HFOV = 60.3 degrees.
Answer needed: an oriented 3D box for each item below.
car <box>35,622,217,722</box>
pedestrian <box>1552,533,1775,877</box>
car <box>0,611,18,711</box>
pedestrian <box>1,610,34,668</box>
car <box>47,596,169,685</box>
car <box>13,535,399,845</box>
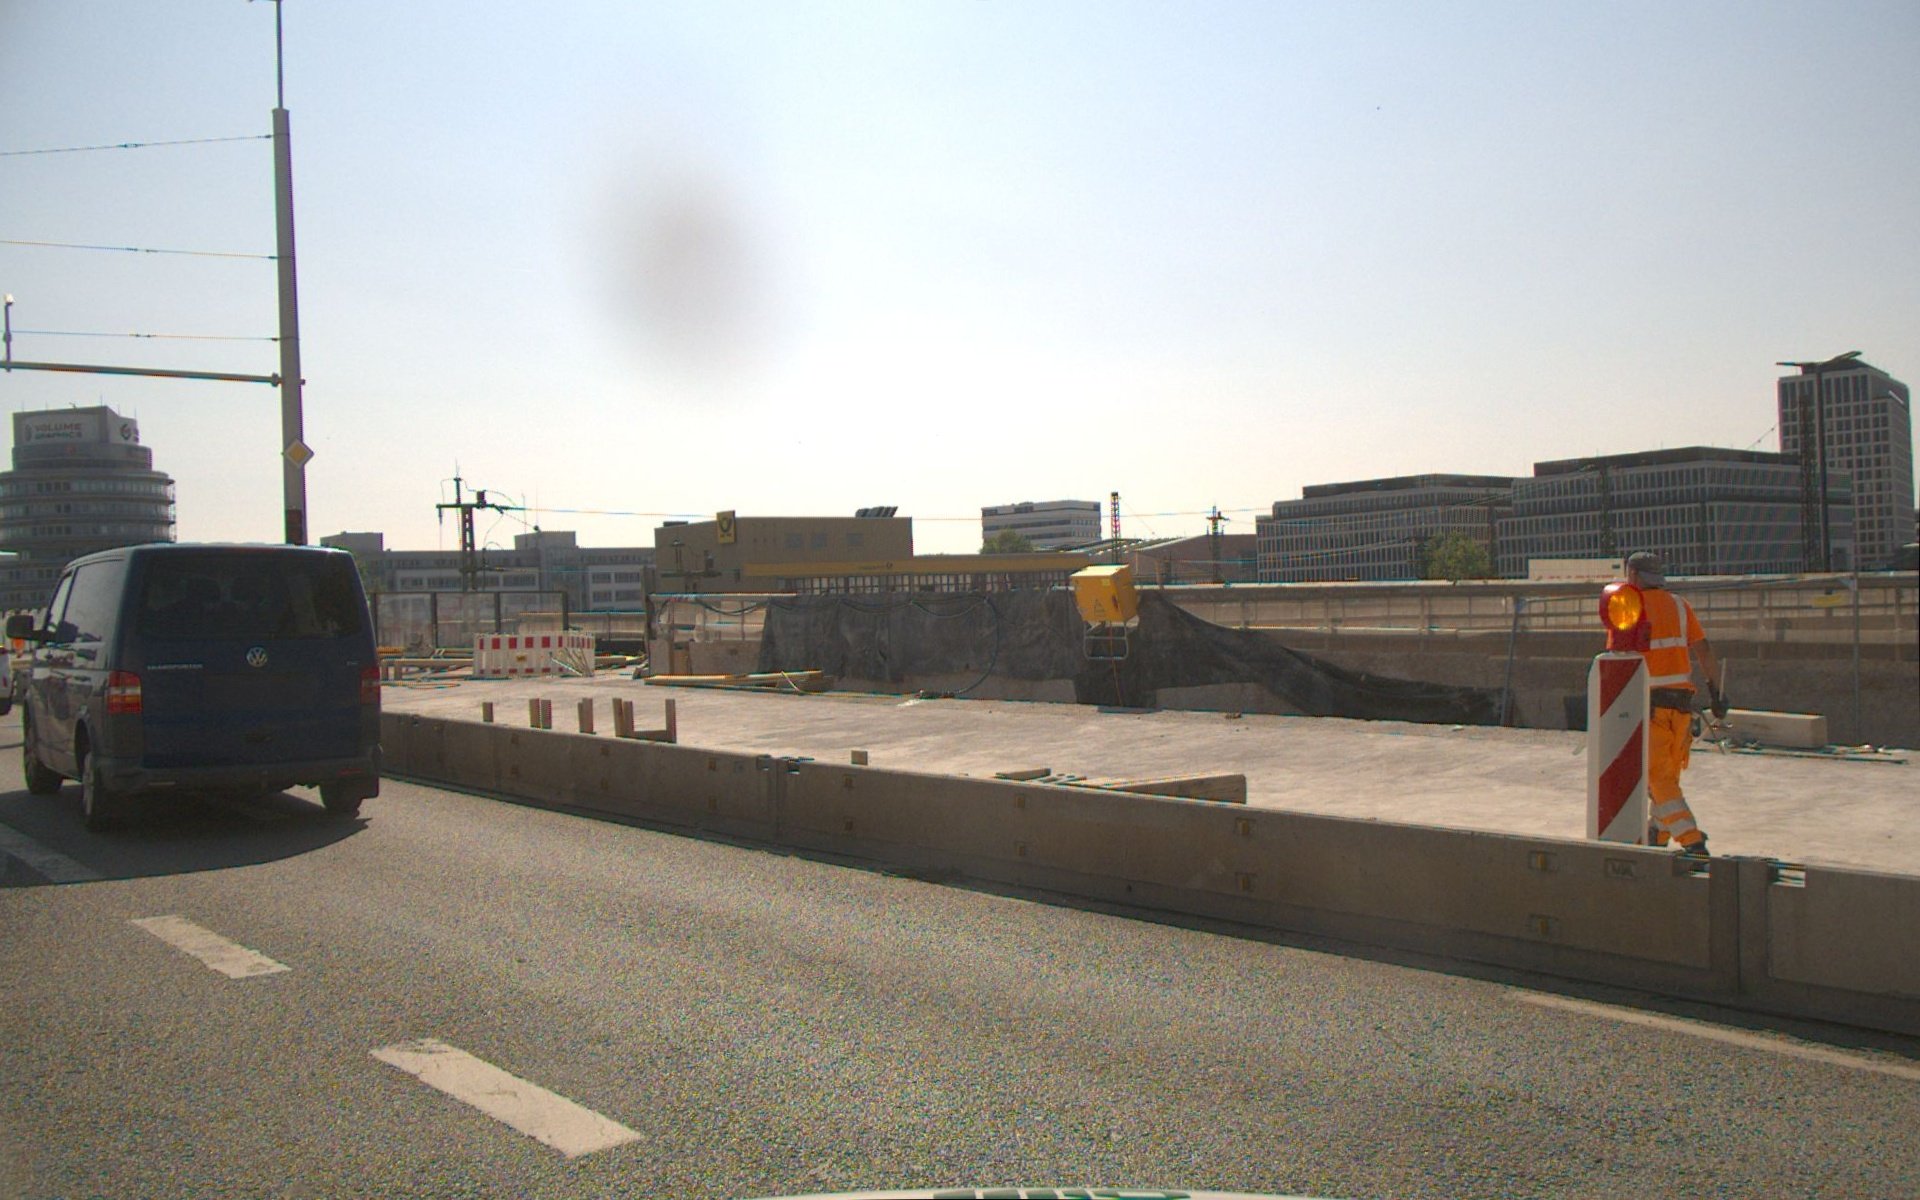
[{"bbox_3d":[-12.137,0.988,23.977,1.706,1.272,3.365,-1,1,-39],"label":"car"},{"bbox_3d":[4.034,0.564,9.491,0.815,1.826,0.851,-4,2,-41],"label":"pedestrian"},{"bbox_3d":[-15.422,0.916,24.769,1.707,1.429,3.363,-1,0,-40],"label":"car"},{"bbox_3d":[-33.100,1.374,58.066,0.777,1.968,0.788,-4,0,-40],"label":"pedestrian"},{"bbox_3d":[-21.577,1.025,41.778,1.866,2.069,4.824,-1,-1,-38],"label":"car"},{"bbox_3d":[-5.870,0.559,12.616,1.803,1.939,4.000,-2,1,-37],"label":"car"}]
